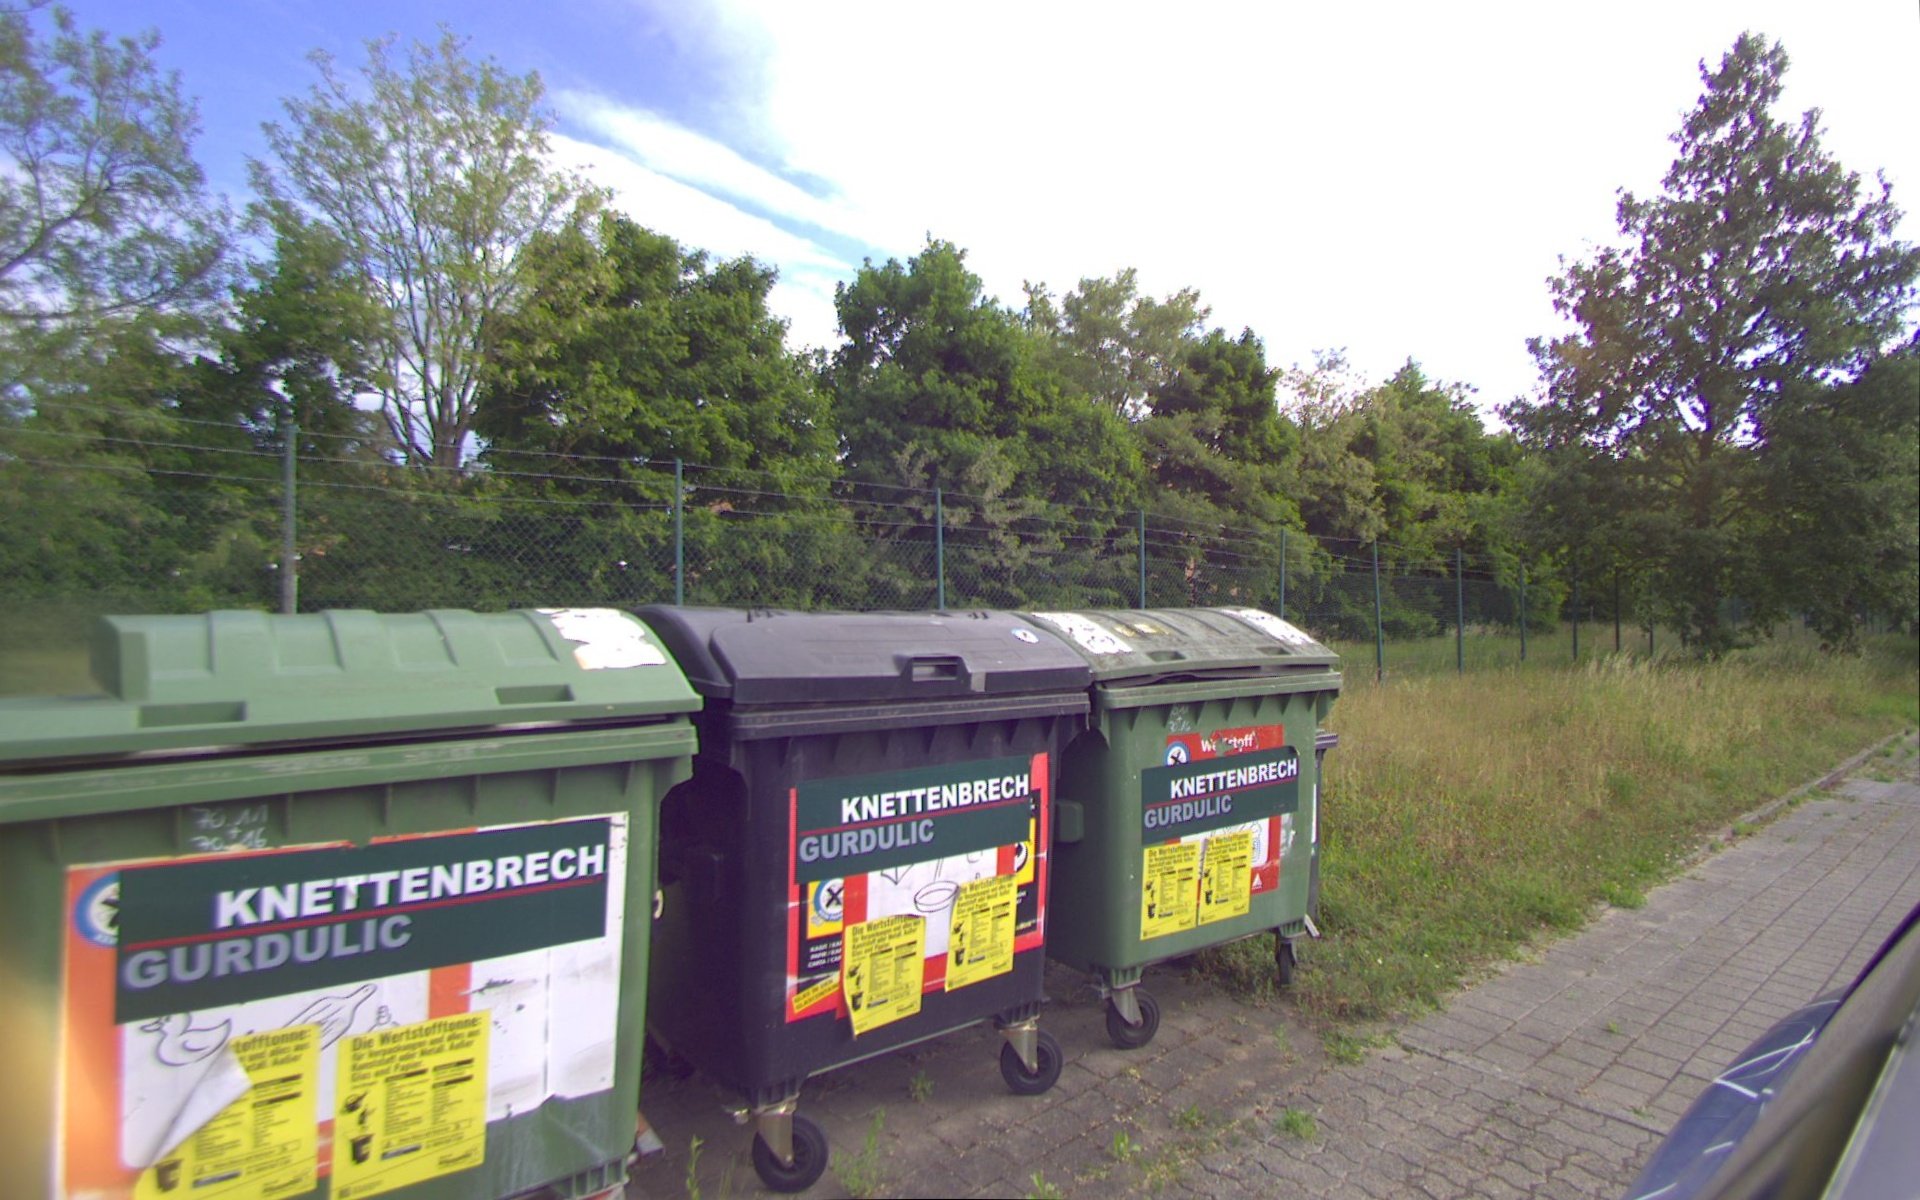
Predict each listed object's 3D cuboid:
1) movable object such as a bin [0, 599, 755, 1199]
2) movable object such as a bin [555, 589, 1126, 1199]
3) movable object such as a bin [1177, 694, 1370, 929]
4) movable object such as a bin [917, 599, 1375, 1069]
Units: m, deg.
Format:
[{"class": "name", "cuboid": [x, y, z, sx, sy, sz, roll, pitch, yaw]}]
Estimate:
[{"class": "movable object such as a bin", "cuboid": [-1.301, 0.718, 2.178, 1.360, 1.423, 1.072, 0, 0, -38]}, {"class": "movable object such as a bin", "cuboid": [-0.363, 0.695, 3.070, 1.373, 1.453, 1.072, 0, 0, -38]}, {"class": "movable object such as a bin", "cuboid": [1.400, 0.904, 4.551, 0.574, 0.877, 0.602, 0, 0, -32]}, {"class": "movable object such as a bin", "cuboid": [0.691, 0.710, 3.914, 1.330, 1.413, 1.132, 0, 0, -32]}]
